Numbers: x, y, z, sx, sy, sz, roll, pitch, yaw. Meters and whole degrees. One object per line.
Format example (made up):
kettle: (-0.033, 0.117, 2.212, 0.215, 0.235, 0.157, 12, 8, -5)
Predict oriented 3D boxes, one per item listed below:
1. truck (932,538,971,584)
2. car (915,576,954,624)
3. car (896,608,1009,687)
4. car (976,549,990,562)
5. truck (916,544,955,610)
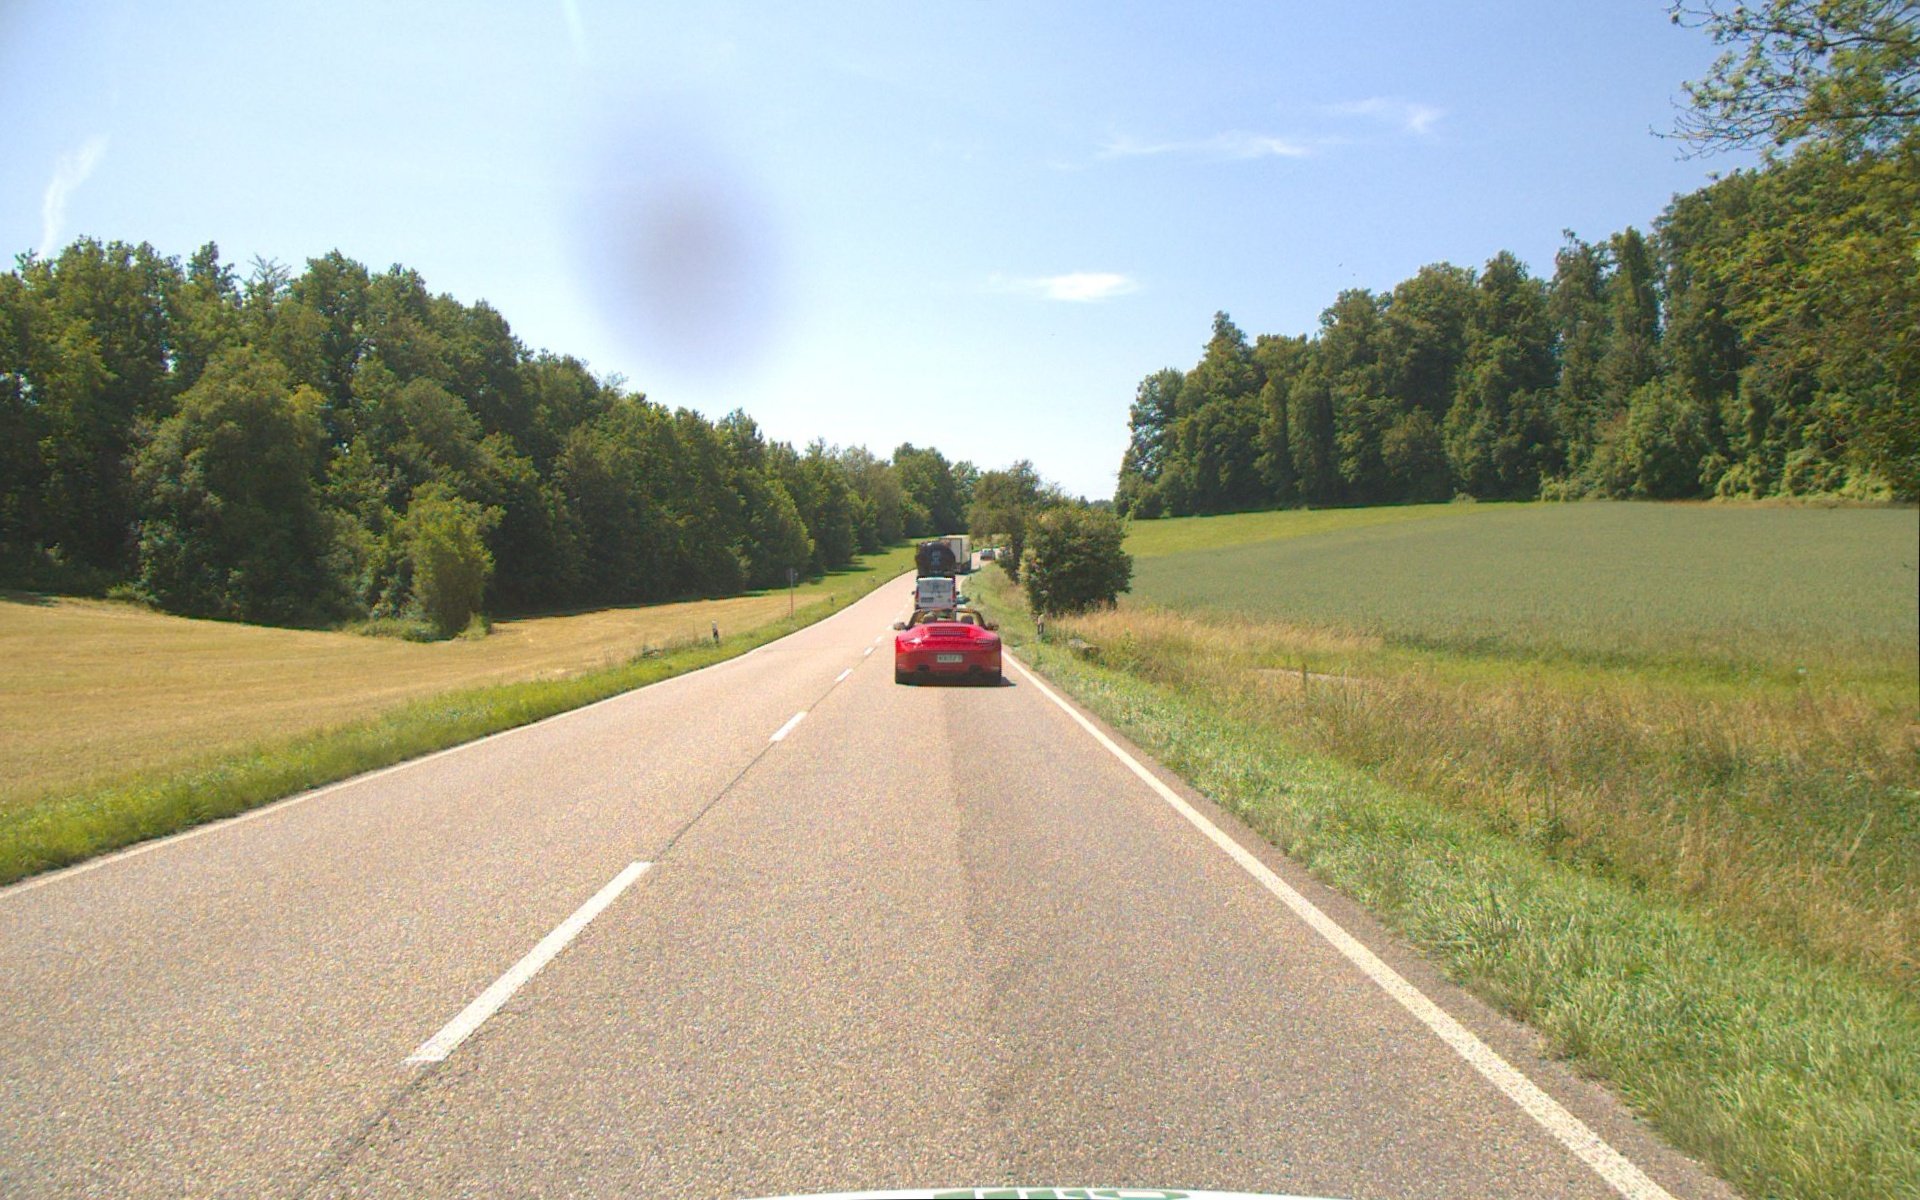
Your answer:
truck: (-0.917, -4.564, 190.901, 3.647, 4.740, 12.042, -1, 4, 4)
car: (-1.123, -0.022, 73.244, 1.644, 1.933, 4.009, -1, 2, -1)
car: (-0.158, 0.793, 29.225, 1.844, 1.277, 4.008, 0, 0, -1)
car: (3.168, -6.178, 227.676, 1.662, 1.522, 3.715, -4, 3, 4)
truck: (-1.680, -1.483, 110.034, 2.355, 4.120, 12.546, 1, 0, -2)
